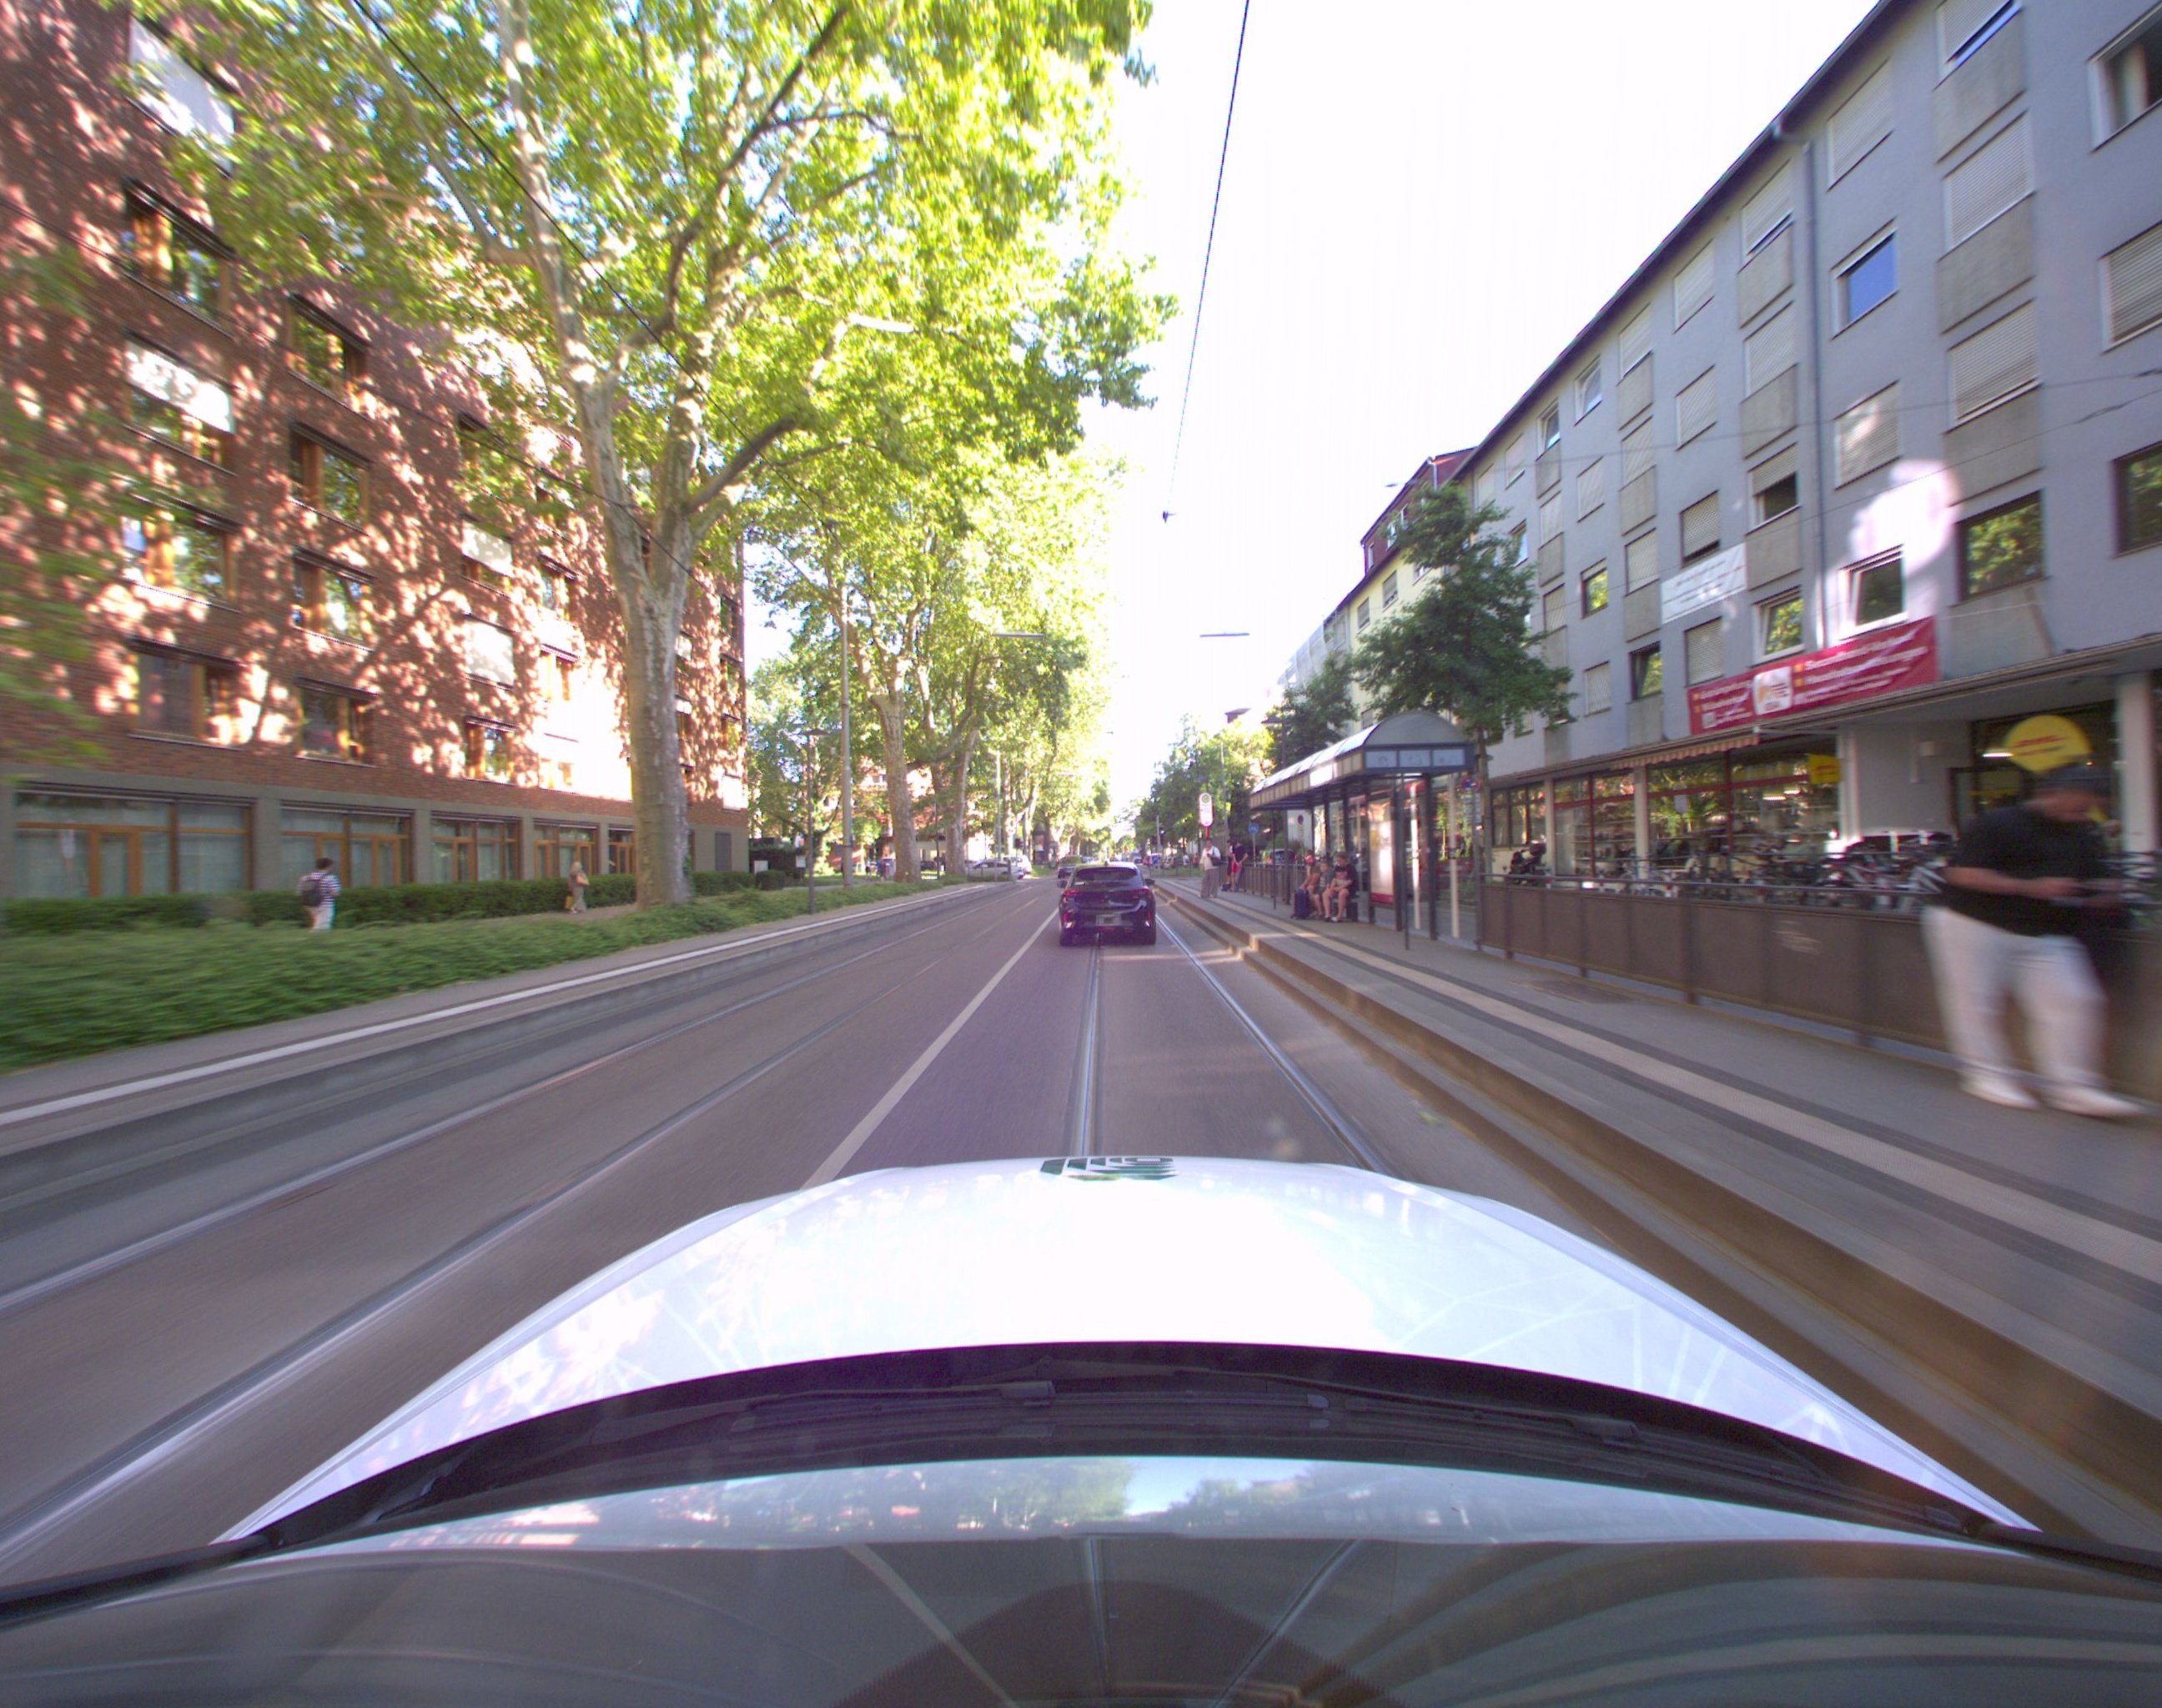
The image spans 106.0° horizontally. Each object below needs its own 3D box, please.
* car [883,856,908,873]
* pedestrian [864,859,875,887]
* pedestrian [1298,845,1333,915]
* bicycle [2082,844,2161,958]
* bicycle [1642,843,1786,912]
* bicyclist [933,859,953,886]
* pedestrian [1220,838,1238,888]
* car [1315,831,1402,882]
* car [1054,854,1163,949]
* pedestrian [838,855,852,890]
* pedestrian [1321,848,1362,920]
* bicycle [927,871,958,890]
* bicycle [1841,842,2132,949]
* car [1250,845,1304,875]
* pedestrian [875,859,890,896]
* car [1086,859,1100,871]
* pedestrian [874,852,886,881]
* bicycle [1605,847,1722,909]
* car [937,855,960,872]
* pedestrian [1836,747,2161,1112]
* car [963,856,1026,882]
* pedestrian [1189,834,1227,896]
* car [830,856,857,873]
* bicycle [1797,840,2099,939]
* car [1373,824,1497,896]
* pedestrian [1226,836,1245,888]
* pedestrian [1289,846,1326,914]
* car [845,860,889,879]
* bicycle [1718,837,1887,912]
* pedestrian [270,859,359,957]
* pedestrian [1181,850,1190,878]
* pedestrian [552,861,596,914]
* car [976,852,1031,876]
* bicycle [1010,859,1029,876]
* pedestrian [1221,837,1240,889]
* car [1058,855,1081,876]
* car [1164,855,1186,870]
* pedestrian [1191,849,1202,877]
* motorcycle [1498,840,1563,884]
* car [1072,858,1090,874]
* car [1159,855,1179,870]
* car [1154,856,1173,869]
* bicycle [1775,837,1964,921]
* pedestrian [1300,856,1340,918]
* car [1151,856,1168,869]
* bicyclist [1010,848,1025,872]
[{"bbox_3d":[-22.432,1.230,98.860,1.986,2.014,4.001,-1,-1,2],"label":"car"},{"bbox_3d":[-14.603,1.317,56.248,0.670,1.950,0.498,0,0,-2],"label":"pedestrian"},{"bbox_3d":[4.429,0.489,15.383,0.501,1.304,0.428,-1,-1,-3],"label":"pedestrian"},{"bbox_3d":[11.139,0.456,7.498,0.621,1.136,2.431,0,-1,-9],"label":"bicycle"},{"bbox_3d":[11.193,0.405,14.526,0.597,1.136,2.196,0,-1,-9],"label":"bicycle"},{"bbox_3d":[-9.595,1.268,56.653,0.948,1.877,1.211,-1,-1,15],"label":"bicyclist"},{"bbox_3d":[5.167,0.323,28.405,0.529,1.709,0.596,-1,-1,4],"label":"pedestrian"},{"bbox_3d":[10.480,0.120,31.061,1.987,1.797,4.000,-1,-1,1],"label":"car"},{"bbox_3d":[0.445,0.806,15.358,1.754,1.508,3.682,-2,-1,-1],"label":"car"},{"bbox_3d":[-13.194,1.013,45.561,0.493,1.950,0.677,-1,-1,14],"label":"pedestrian"},{"bbox_3d":[4.583,0.524,14.351,0.533,1.230,0.510,-1,-1,-3],"label":"pedestrian"},{"bbox_3d":[-9.581,1.857,56.636,0.948,1.240,2.989,-1,-1,15],"label":"bicycle"},{"bbox_3d":[10.875,0.456,9.964,0.602,1.136,2.426,0,-1,-9],"label":"bicycle"},{"bbox_3d":[10.288,0.307,43.036,1.986,1.486,4.001,-1,-1,2],"label":"car"},{"bbox_3d":[-10.610,1.254,43.507,0.669,1.950,0.498,-1,-1,1],"label":"pedestrian"},{"bbox_3d":[1.653,1.551,115.394,1.987,1.693,3.999,-1,-1,0],"label":"car"},{"bbox_3d":[-13.670,0.856,55.411,0.670,1.950,0.498,0,0,-2],"label":"pedestrian"},{"bbox_3d":[11.405,0.449,16.044,0.596,1.136,2.200,-1,-1,-4],"label":"bicycle"},{"bbox_3d":[-16.022,1.163,98.683,1.986,2.014,4.001,-1,-1,2],"label":"car"},{"bbox_3d":[4.395,0.325,3.968,0.628,1.576,0.871,1,0,1],"label":"pedestrian"},{"bbox_3d":[-5.832,0.984,55.024,4.108,1.701,1.880,-1,-1,-6],"label":"car"},{"bbox_3d":[3.566,0.302,22.841,0.742,1.709,0.768,-1,-1,36],"label":"pedestrian"},{"bbox_3d":[-28.538,1.274,98.091,1.986,2.014,4.001,-1,-1,2],"label":"car"},{"bbox_3d":[11.352,0.425,10.901,0.611,1.136,2.912,0,-1,-9],"label":"bicycle"},{"bbox_3d":[10.411,0.186,24.310,1.987,1.952,4.000,-1,-1,1],"label":"car"},{"bbox_3d":[5.243,0.277,27.696,0.529,1.763,0.662,-1,-1,4],"label":"pedestrian"},{"bbox_3d":[4.413,0.503,15.875,0.533,1.304,0.550,-1,-1,-3],"label":"pedestrian"},{"bbox_3d":[-23.751,1.756,90.427,4.234,2.014,2.000,-1,-1,1],"label":"car"},{"bbox_3d":[11.830,0.326,13.479,0.597,1.136,2.196,0,-1,-9],"label":"bicycle"},{"bbox_3d":[-13.567,0.928,14.437,0.732,1.672,0.861,-1,-1,1],"label":"pedestrian"},{"bbox_3d":[7.701,0.717,59.962,0.671,2.013,0.703,0,0,7],"label":"pedestrian"},{"bbox_3d":[-15.825,1.032,25.444,0.772,1.605,0.946,-1,-1,1],"label":"pedestrian"},{"bbox_3d":[-6.259,0.836,65.750,4.379,1.851,1.996,-1,-1,-6],"label":"car"},{"bbox_3d":[-4.525,1.001,60.178,0.950,1.240,2.981,-1,-1,5],"label":"bicycle"},{"bbox_3d":[4.955,0.304,26.980,0.529,1.709,0.752,-1,-1,4],"label":"pedestrian"},{"bbox_3d":[-0.860,0.900,63.189,1.740,1.544,3.999,-1,-1,0],"label":"car"},{"bbox_3d":[10.157,0.930,88.298,1.986,1.632,4.001,-1,-1,2],"label":"car"},{"bbox_3d":[8.454,0.679,59.576,0.670,2.013,0.704,0,0,13],"label":"pedestrian"},{"bbox_3d":[13.735,0.242,24.960,0.888,1.280,2.043,-1,-1,2],"label":"motorcycle"},{"bbox_3d":[-0.001,1.288,87.189,1.779,1.693,3.999,-1,-1,0],"label":"car"},{"bbox_3d":[10.181,1.004,94.795,1.986,1.632,4.001,-1,-1,2],"label":"car"},{"bbox_3d":[10.267,1.079,101.359,1.986,1.632,4.001,-1,-1,2],"label":"car"},{"bbox_3d":[11.643,0.358,12.153,0.410,1.136,2.196,0,-1,-9],"label":"bicycle"},{"bbox_3d":[4.362,0.587,14.869,0.533,1.099,0.550,-1,-1,-3],"label":"pedestrian"},{"bbox_3d":[10.399,1.149,107.655,1.986,1.632,4.001,-1,-1,2],"label":"car"},{"bbox_3d":[-4.604,0.447,59.275,0.937,1.703,1.154,-1,-1,4],"label":"bicyclist"}]
